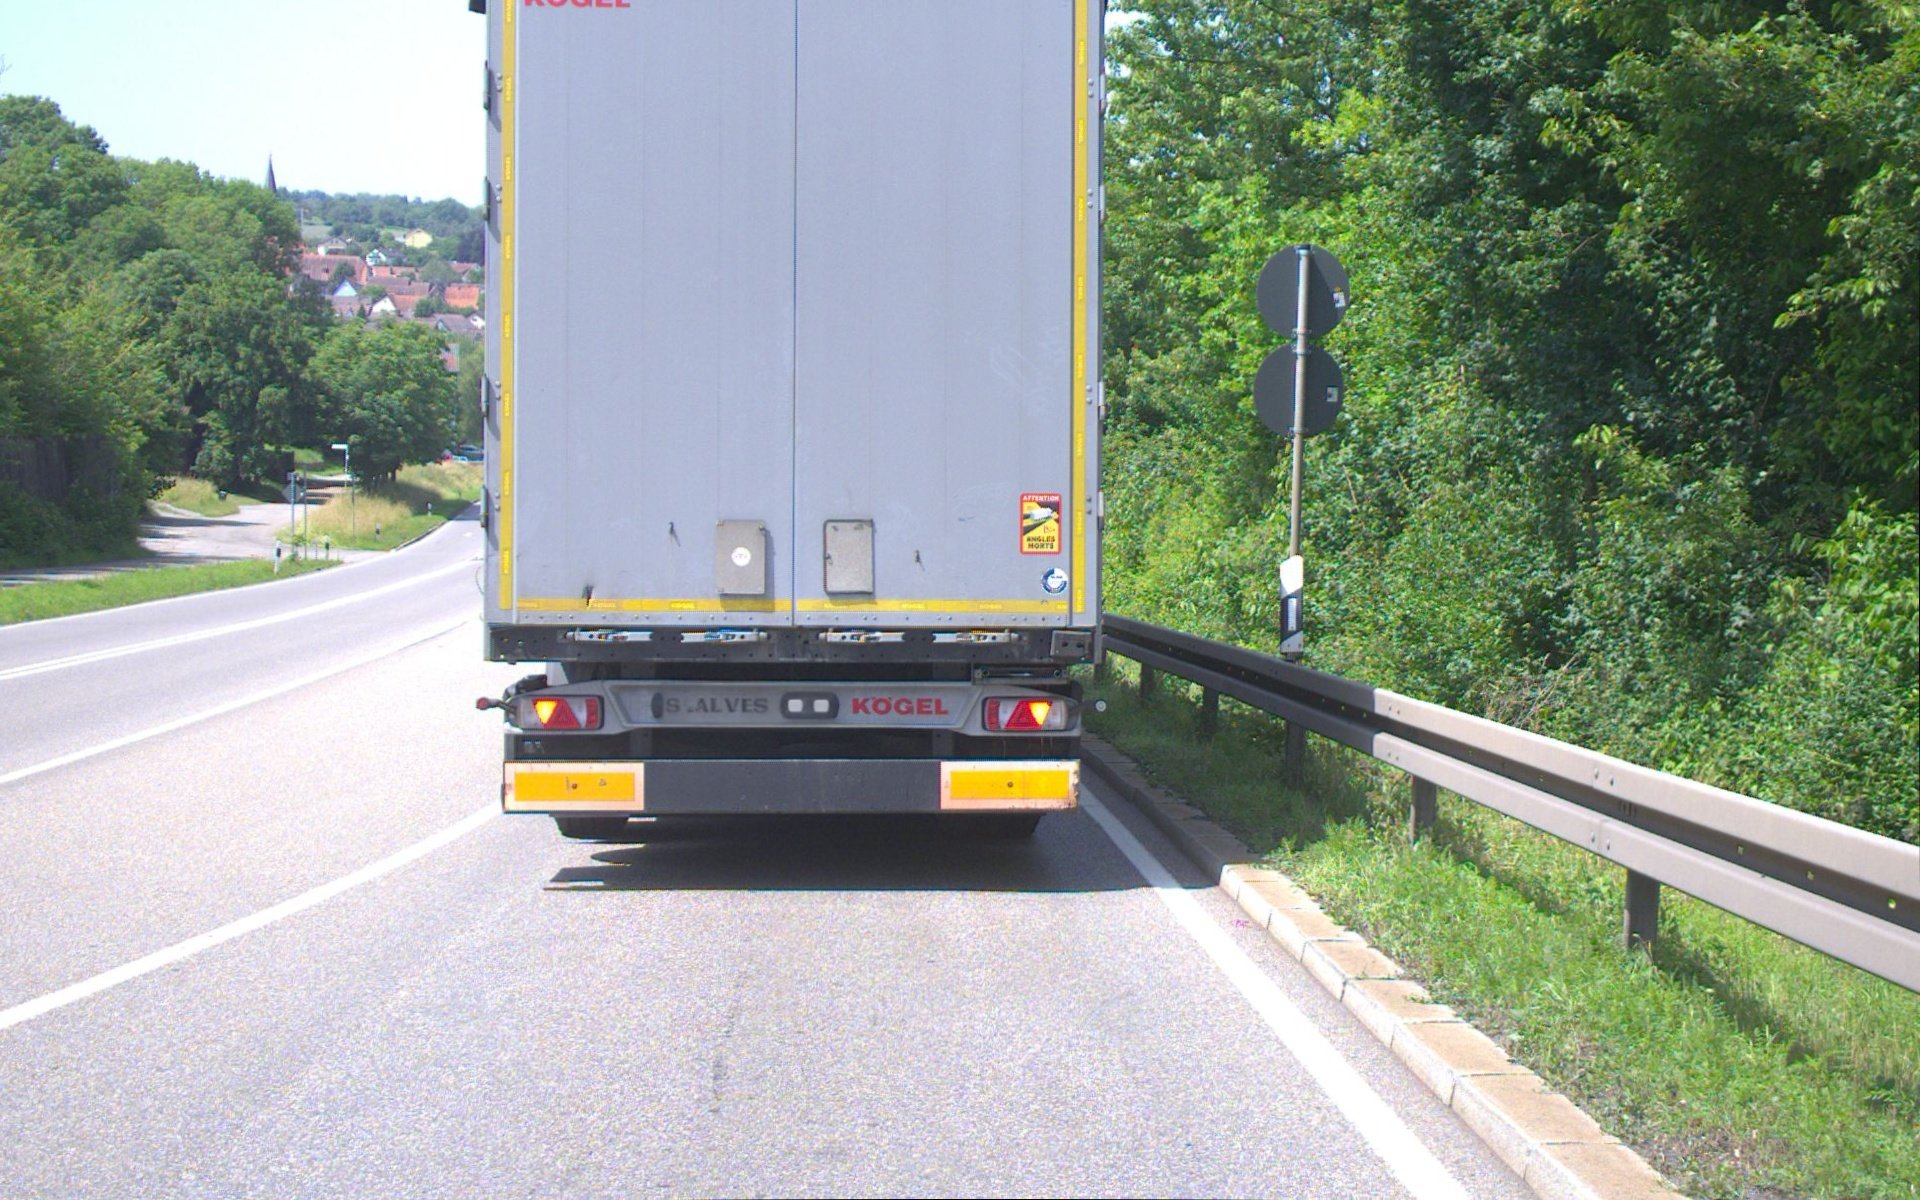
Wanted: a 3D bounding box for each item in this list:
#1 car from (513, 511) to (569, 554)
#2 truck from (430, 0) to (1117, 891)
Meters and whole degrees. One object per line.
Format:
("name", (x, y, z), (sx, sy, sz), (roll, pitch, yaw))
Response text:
("car", (-17.911, -2.872, 146.758), (1.805, 1.788, 3.843), (0, 1, -16))
("truck", (-0.821, -0.973, 19.844), (2.757, 4.016, 11.925), (0, 1, -1))
